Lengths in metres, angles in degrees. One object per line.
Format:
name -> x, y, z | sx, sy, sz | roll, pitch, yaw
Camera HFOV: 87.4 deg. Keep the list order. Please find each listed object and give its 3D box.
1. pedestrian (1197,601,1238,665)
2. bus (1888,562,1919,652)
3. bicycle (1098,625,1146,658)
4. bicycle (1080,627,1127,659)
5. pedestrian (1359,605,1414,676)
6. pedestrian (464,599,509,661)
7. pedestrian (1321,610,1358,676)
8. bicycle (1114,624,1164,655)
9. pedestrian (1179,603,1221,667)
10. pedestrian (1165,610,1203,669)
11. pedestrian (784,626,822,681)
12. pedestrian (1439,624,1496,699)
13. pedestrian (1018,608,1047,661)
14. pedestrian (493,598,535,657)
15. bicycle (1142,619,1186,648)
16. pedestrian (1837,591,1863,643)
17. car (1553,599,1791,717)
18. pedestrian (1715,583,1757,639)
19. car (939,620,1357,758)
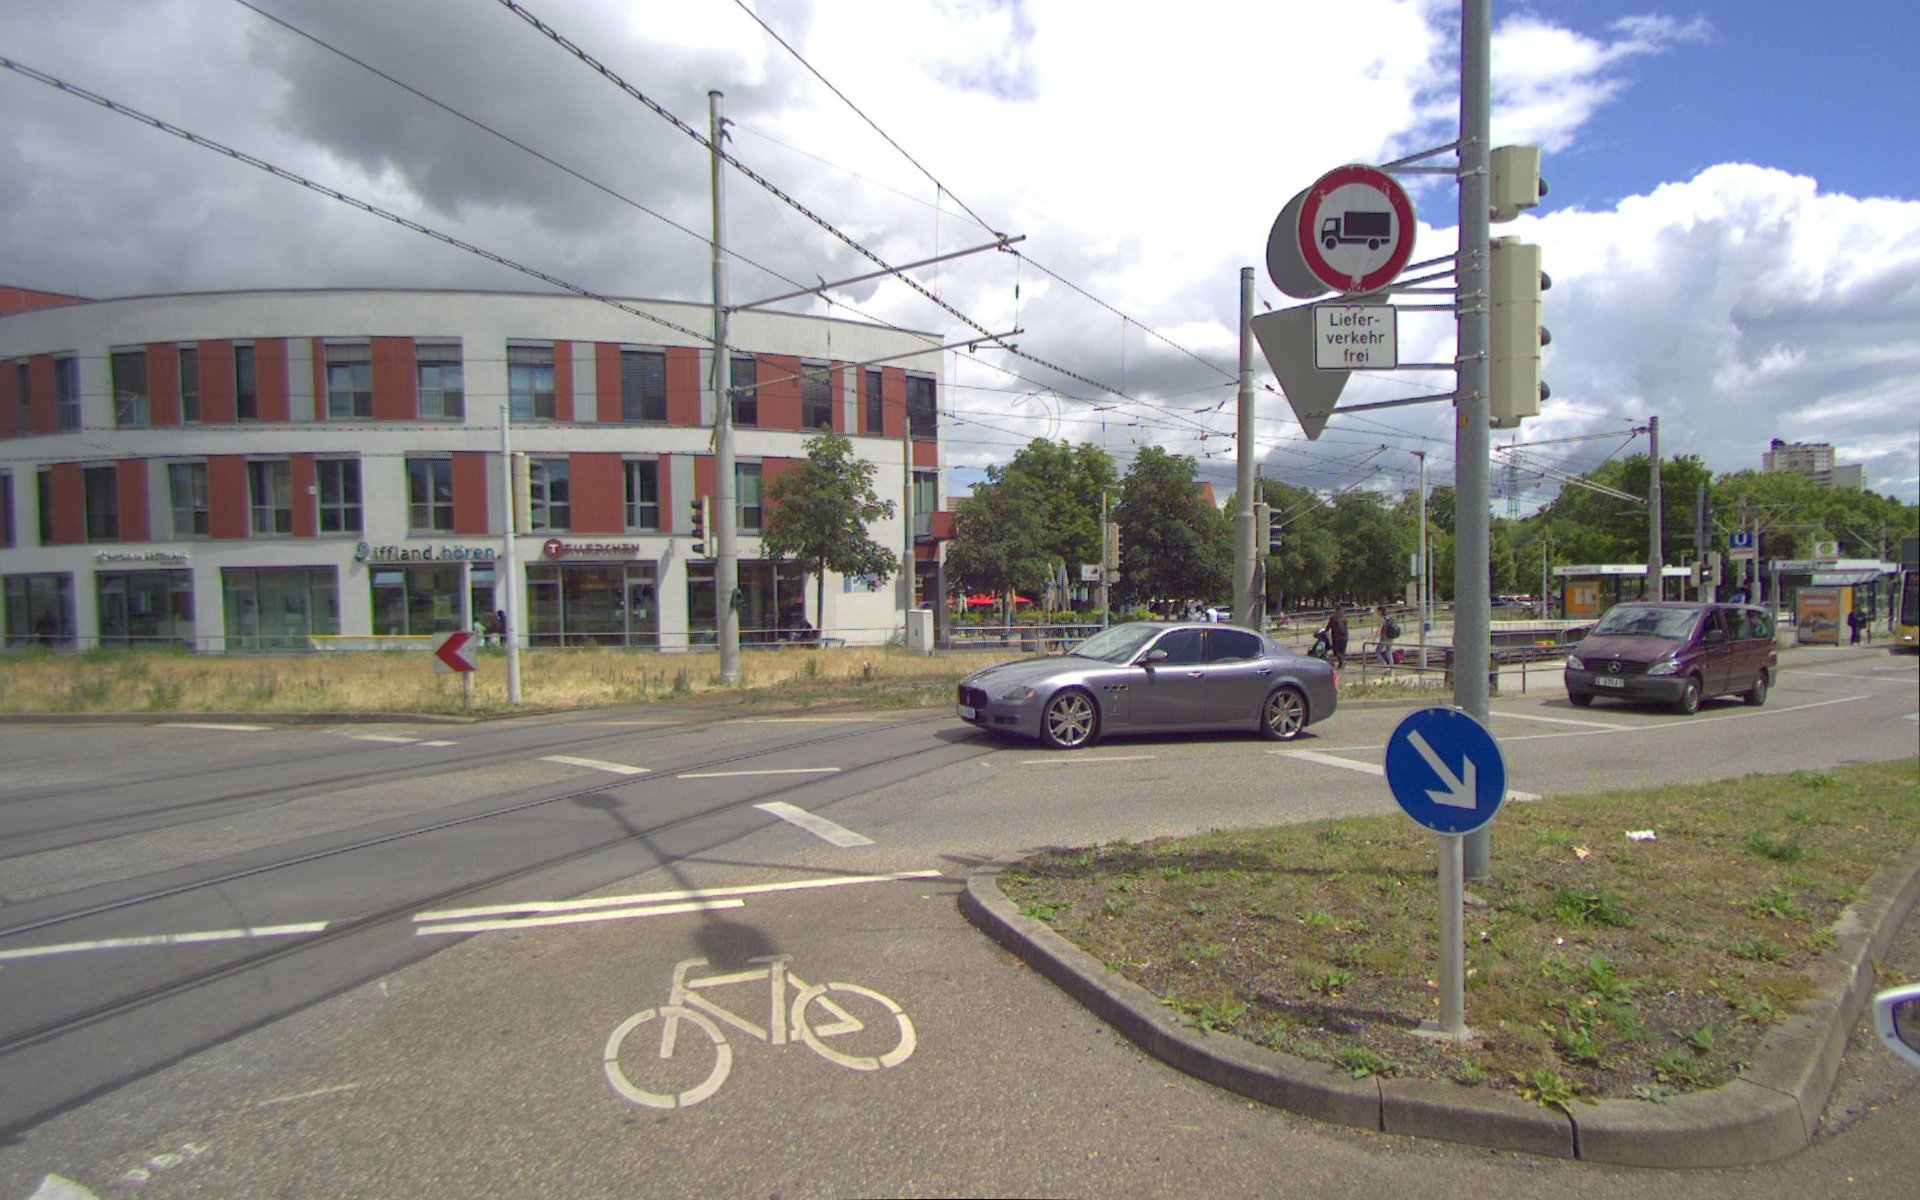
pedestrian -> 7.698, 0.970, 29.993 | 0.764, 1.846, 0.901 | 0, 0, -33
bus -> 37.435, 0.192, 37.327 | 9.613, 3.151, 2.706 | -1, 1, -37
bicycle -> 5.869, 1.489, 36.481 | 0.686, 1.112, 1.888 | 0, 0, -32
bicycle -> 5.119, 1.532, 35.962 | 0.685, 1.112, 1.891 | 0, -1, -28
pedestrian -> 10.106, 0.943, 23.798 | 0.911, 1.658, 0.856 | 0, -1, -33
pedestrian -> -16.005, 0.989, 33.973 | 1.120, 2.040, 1.254 | 0, 0, -13
pedestrian -> 9.577, 1.073, 25.350 | 0.818, 1.617, 0.642 | 1, 0, 17
bicycle -> 6.612, 1.449, 37.134 | 0.687, 1.077, 1.886 | 0, 0, -35
pedestrian -> 7.011, 1.005, 29.323 | 0.764, 1.846, 0.901 | 0, 0, -33
pedestrian -> 6.311, 1.100, 28.312 | 0.822, 1.625, 0.667 | 0, -1, 40
pedestrian -> -5.997, 2.019, 38.258 | 1.124, 2.040, 1.249 | 0, 0, -26
pedestrian -> 11.261, 1.341, 22.294 | 0.828, 1.561, 0.793 | 0, 2, -39
pedestrian -> 2.441, 1.145, 33.917 | 0.659, 1.758, 0.833 | 0, 0, 32
pedestrian -> -15.756, 0.957, 35.528 | 1.120, 2.040, 1.254 | 0, 0, -13
bicycle -> 7.670, 1.255, 37.781 | 0.684, 1.043, 1.895 | 0, 0, -22
pedestrian -> 35.735, 0.674, 40.330 | 0.822, 2.040, 0.696 | 0, -1, -41
car -> 13.057, 0.970, 18.303 | 5.022, 1.846, 1.980 | 1, 0, -35
pedestrian -> 28.697, 0.418, 37.156 | 1.018, 2.040, 0.965 | 0, 0, -34
car -> 2.374, 1.005, 12.421 | 4.983, 1.429, 1.792 | 1, -1, -25
